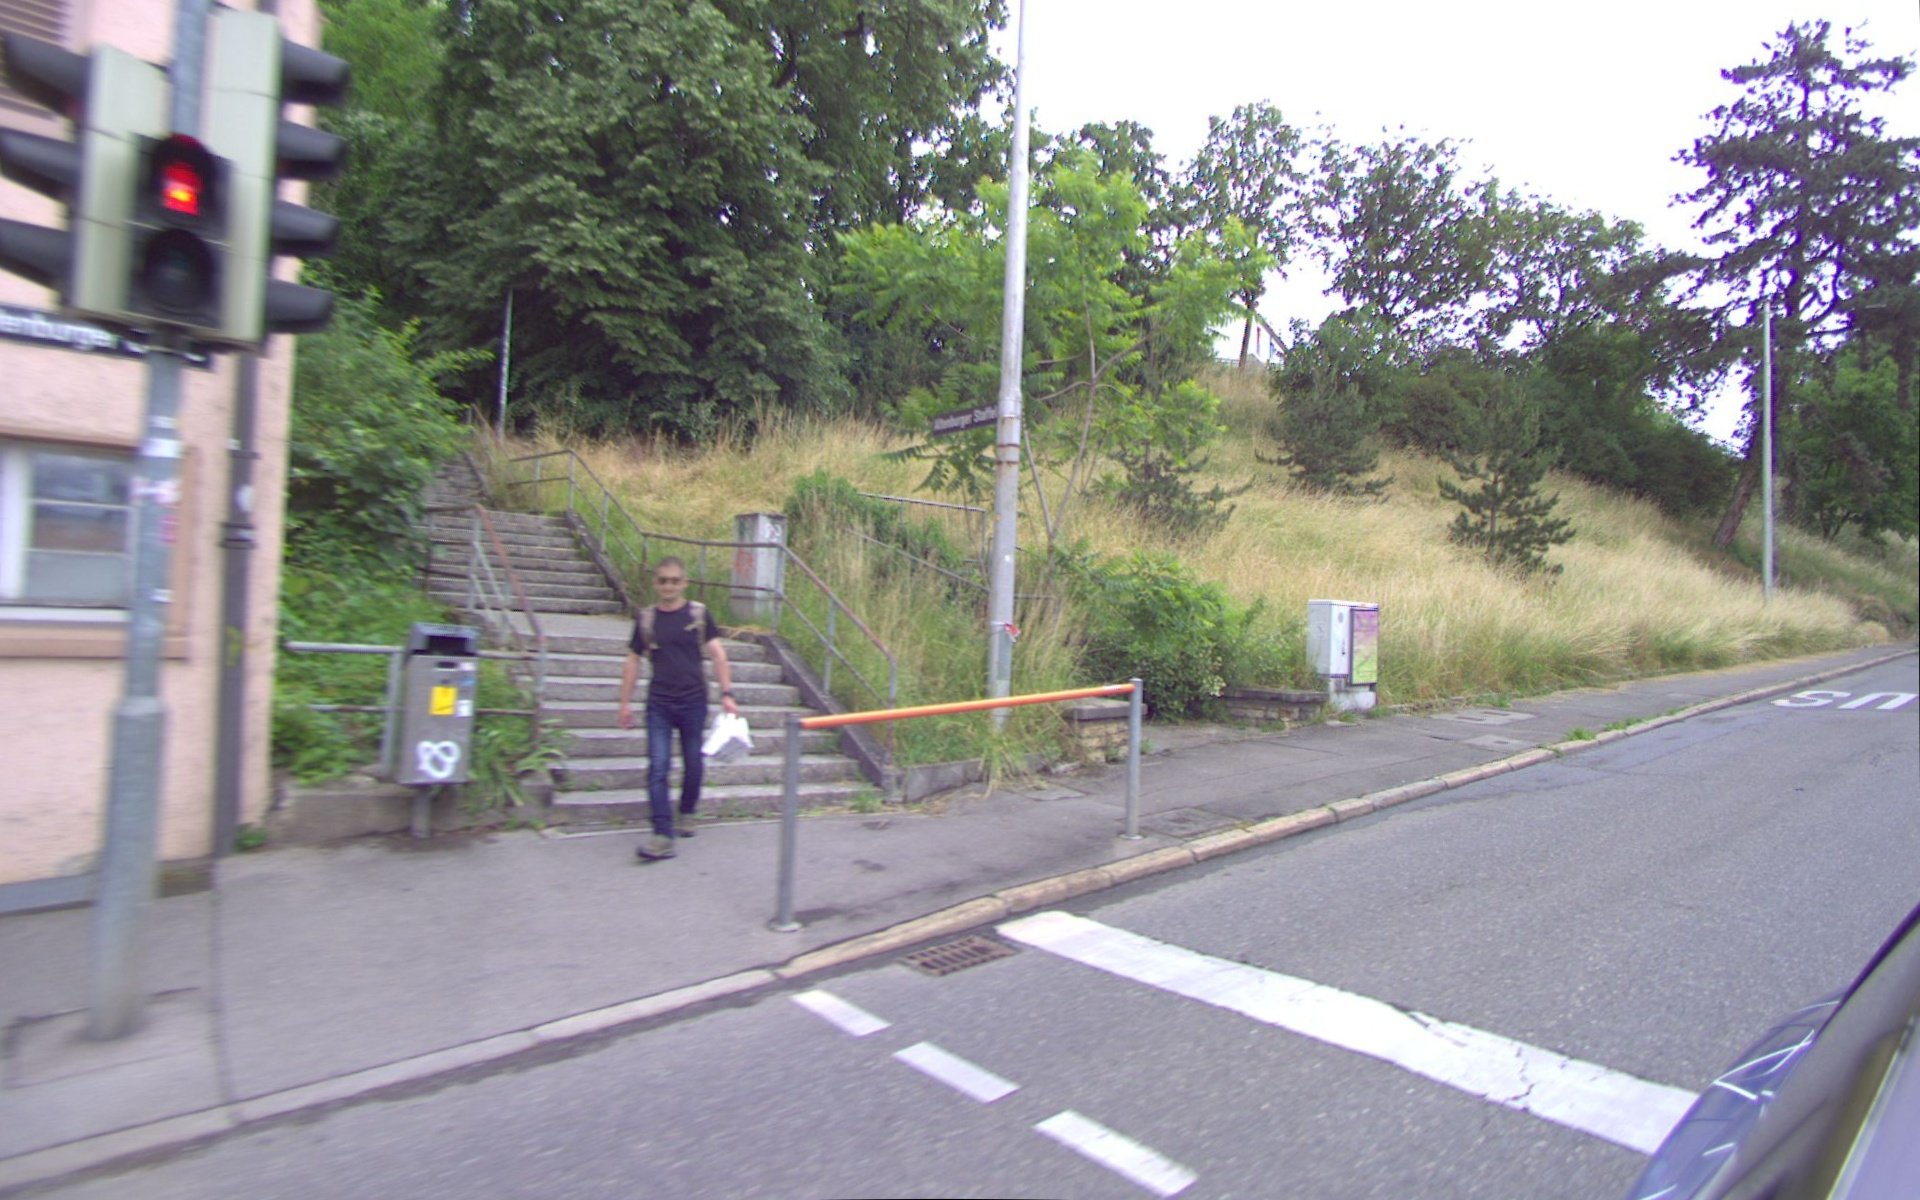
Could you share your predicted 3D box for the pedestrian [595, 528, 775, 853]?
[{"bbox_3d":[-1.606,0.472,5.876,0.854,1.716,0.892,3,3,-18],"label":"pedestrian"}]
